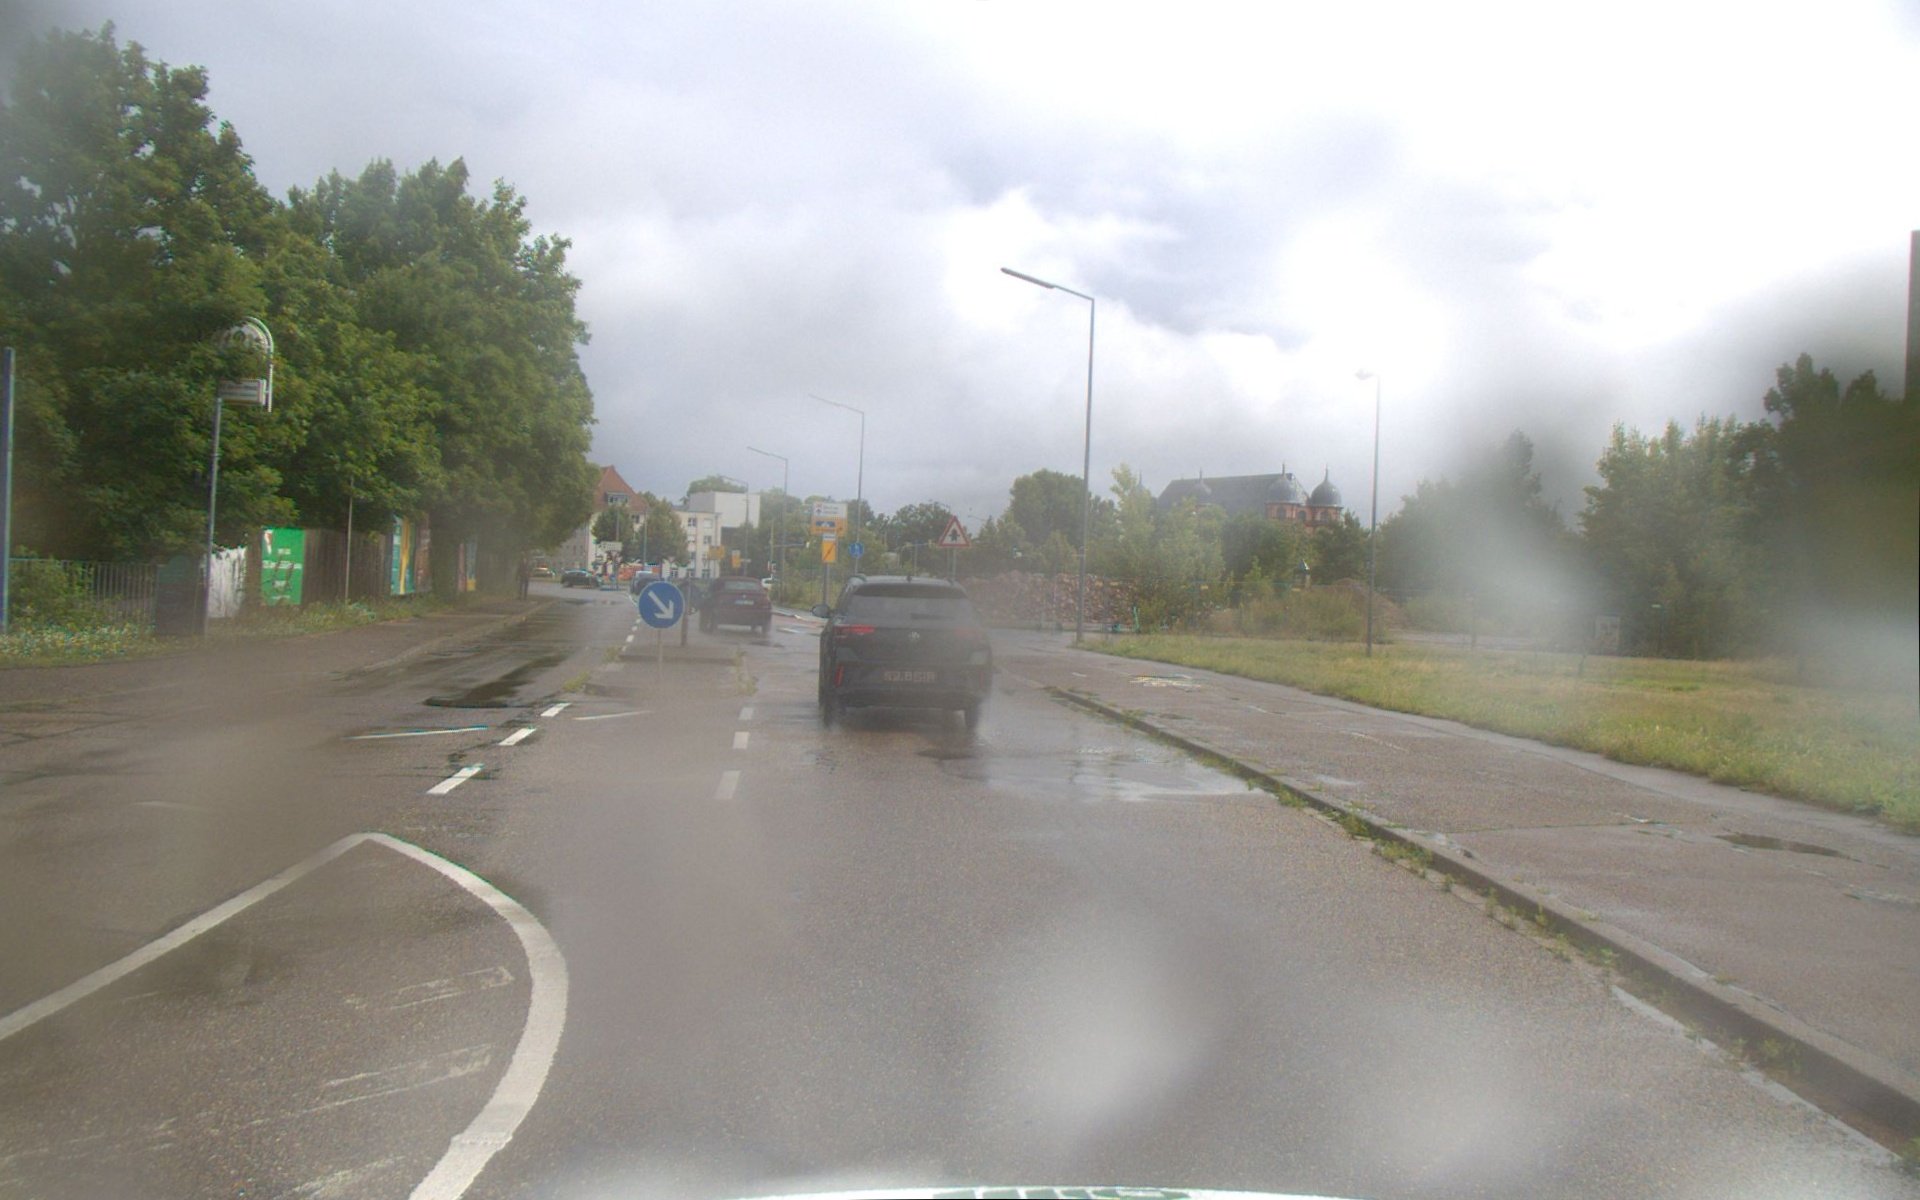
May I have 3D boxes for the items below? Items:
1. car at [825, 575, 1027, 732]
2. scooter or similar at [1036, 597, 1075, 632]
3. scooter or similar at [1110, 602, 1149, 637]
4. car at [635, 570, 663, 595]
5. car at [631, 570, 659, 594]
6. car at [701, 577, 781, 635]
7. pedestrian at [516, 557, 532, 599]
[{"bbox_3d":[-0.492,0.513,18.466,1.948,1.547,3.995,0,0,-6],"label":"car"},{"bbox_3d":[3.572,0.546,61.961,1.256,1.207,0.502,6,2,29],"label":"scooter or similar"},{"bbox_3d":[6.296,0.721,61.487,1.256,1.207,0.502,6,2,29],"label":"scooter or similar"},{"bbox_3d":[-22.231,-1.246,118.112,1.809,1.670,4.003,2,0,-13],"label":"car"},{"bbox_3d":[-24.758,-1.418,129.789,1.962,1.732,4.003,2,0,-13],"label":"car"},{"bbox_3d":[-5.929,0.163,44.470,1.809,1.467,3.988,0,0,-12],"label":"car"},{"bbox_3d":[-18.729,-0.956,71.073,0.515,1.730,0.565,4,1,-12],"label":"pedestrian"}]
